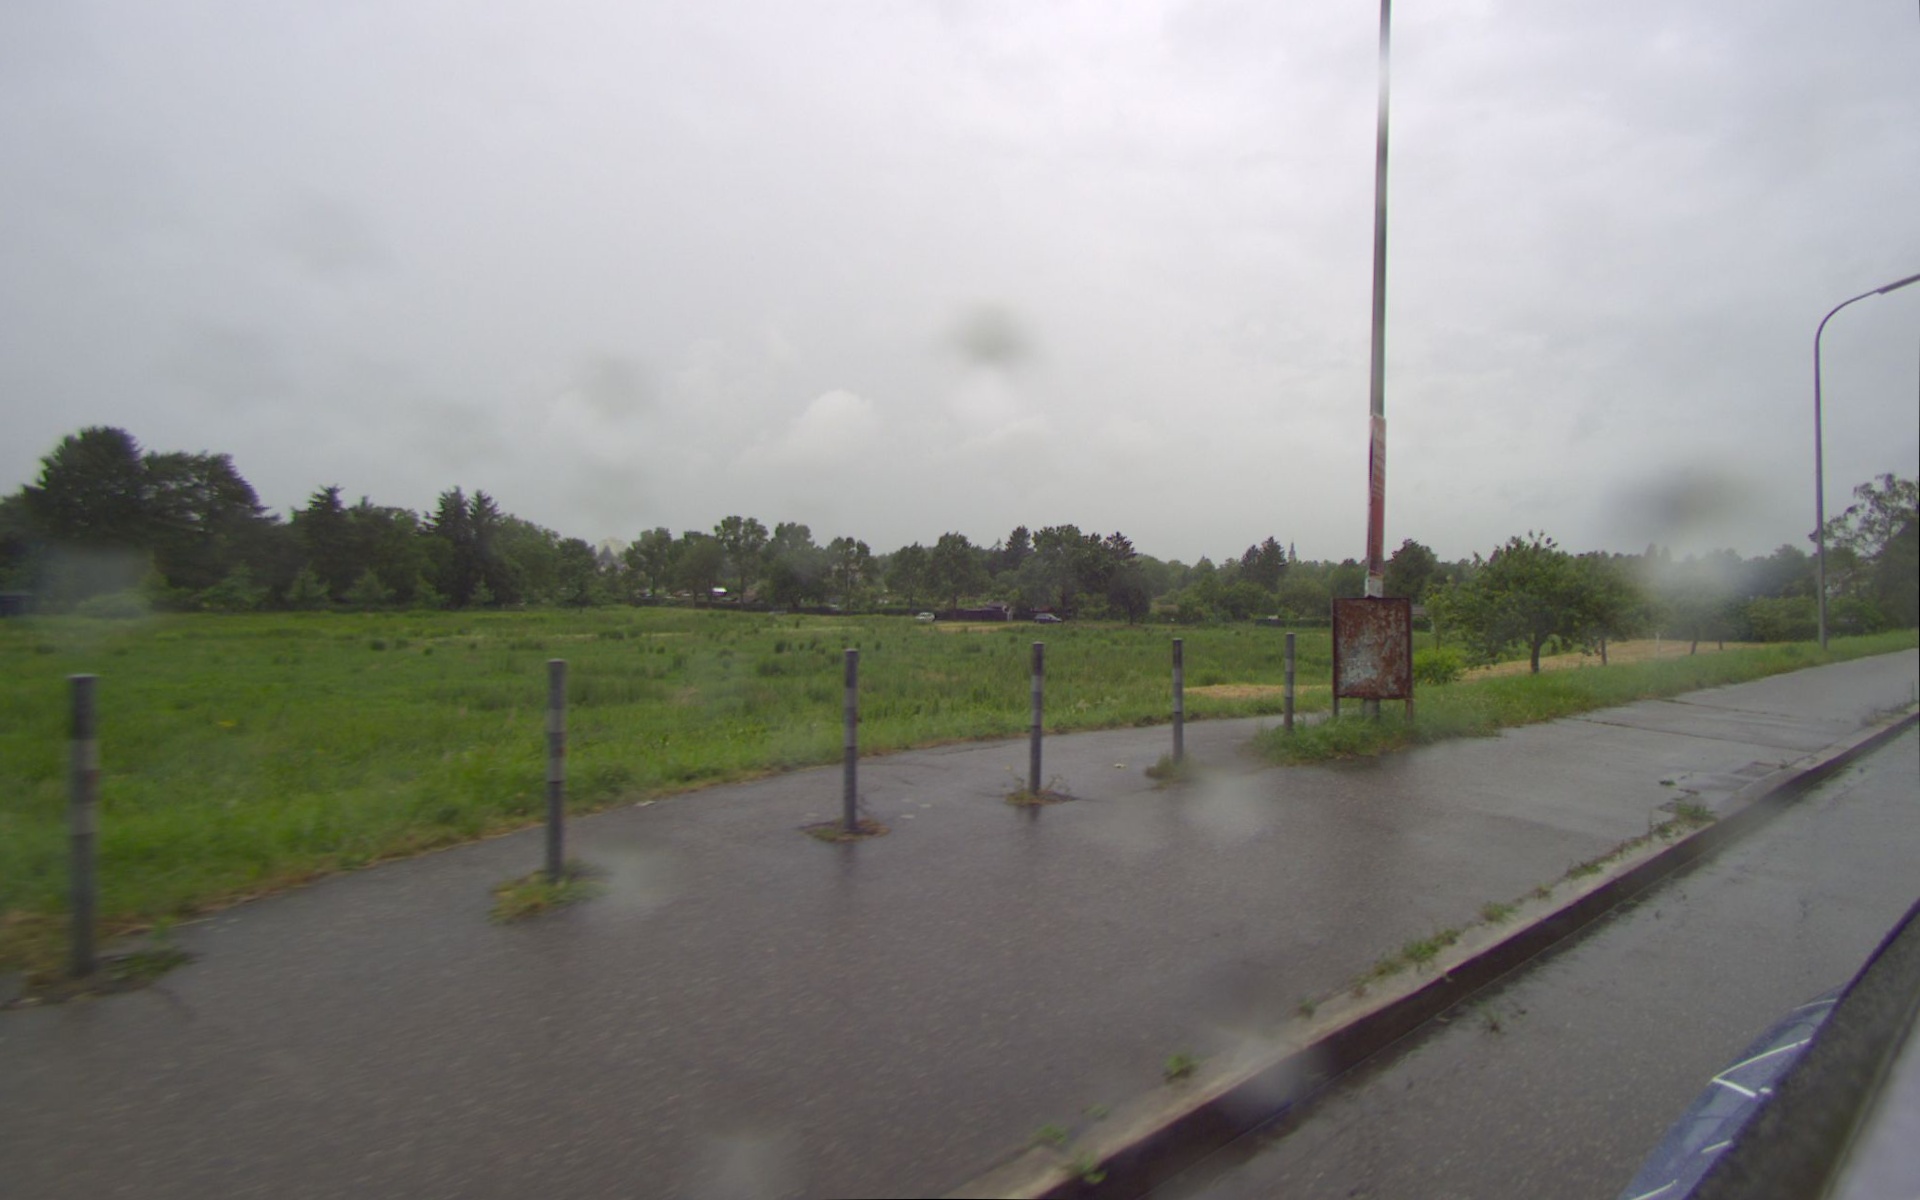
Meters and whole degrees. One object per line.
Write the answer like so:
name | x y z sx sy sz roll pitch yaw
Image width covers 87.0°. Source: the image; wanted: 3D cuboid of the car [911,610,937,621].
car | -5.034 2.169 141.906 1.784 1.529 4.121 -1 0 30
